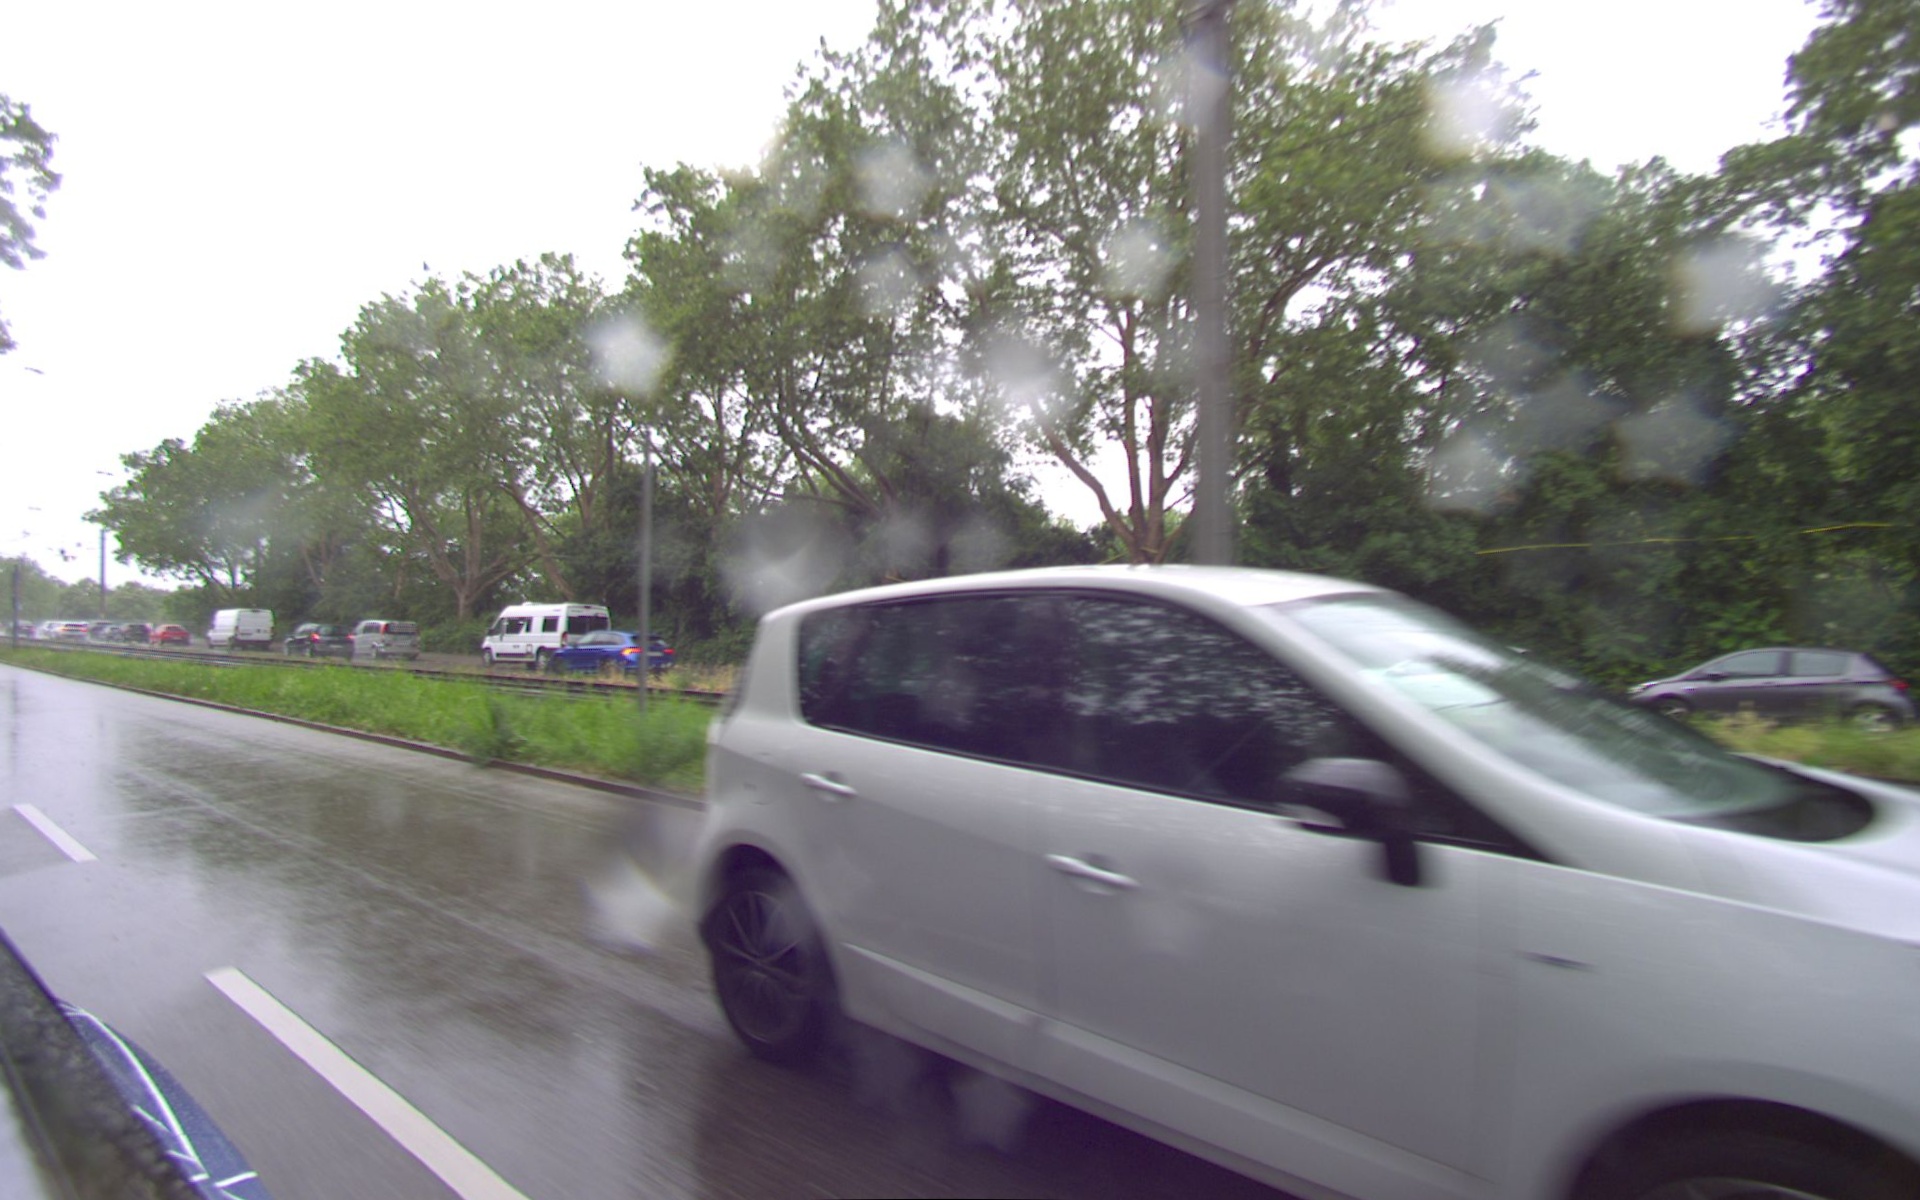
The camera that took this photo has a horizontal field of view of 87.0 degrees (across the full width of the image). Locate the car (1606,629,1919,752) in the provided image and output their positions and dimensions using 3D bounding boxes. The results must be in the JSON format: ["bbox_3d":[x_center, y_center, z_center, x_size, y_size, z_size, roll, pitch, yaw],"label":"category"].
[{"bbox_3d":[13.367,1.391,16.452,4.687,1.764,2.012,-1,-3,38],"label":"car"}]

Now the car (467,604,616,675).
[{"bbox_3d":[-16.314,1.505,39.293,6.557,2.560,2.367,-1,-3,38],"label":"car"}]

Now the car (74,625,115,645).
[{"bbox_3d":[-74.656,3.032,87.291,4.364,1.663,1.867,-1,-3,39],"label":"car"}]

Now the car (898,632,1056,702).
[{"bbox_3d":[0.406,1.691,26.317,3.808,1.661,1.744,-1,-3,38],"label":"car"}]

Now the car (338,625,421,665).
[{"bbox_3d":[-28.200,2.165,49.112,4.636,1.876,1.937,-1,-3,40],"label":"car"}]

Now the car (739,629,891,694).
[{"bbox_3d":[-4.307,1.754,29.693,4.525,1.741,1.733,-1,-3,38],"label":"car"}]

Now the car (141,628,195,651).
[{"bbox_3d":[-57.068,2.866,72.872,4.379,1.564,2.014,-1,-3,38],"label":"car"}]

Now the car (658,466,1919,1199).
[{"bbox_3d":[1.103,0.649,2.876,4.262,1.636,1.845,-1,-1,42],"label":"car"}]

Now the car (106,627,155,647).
[{"bbox_3d":[-65.613,2.919,80.011,4.379,1.564,2.014,-1,-3,38],"label":"car"}]

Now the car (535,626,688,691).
[{"bbox_3d":[-10.341,1.686,29.921,4.687,1.764,2.012,-1,-3,38],"label":"car"}]

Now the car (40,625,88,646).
[{"bbox_3d":[-70.362,2.788,79.462,4.762,1.579,1.959,-1,-3,38],"label":"car"}]

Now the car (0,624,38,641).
[{"bbox_3d":[-85.901,2.990,92.303,4.562,1.564,2.013,-2,-3,40],"label":"car"}]

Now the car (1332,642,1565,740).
[{"bbox_3d":[9.422,1.680,19.642,3.808,1.661,1.744,-1,-3,38],"label":"car"}]

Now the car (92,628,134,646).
[{"bbox_3d":[-69.703,3.048,83.280,3.961,1.389,1.867,-1,-3,39],"label":"car"}]

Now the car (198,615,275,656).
[{"bbox_3d":[-45.082,2.176,63.026,6.133,2.465,2.306,-1,-3,39],"label":"car"}]

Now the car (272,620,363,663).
[{"bbox_3d":[-28.268,1.813,44.490,4.253,1.764,2.012,-1,-3,38],"label":"car"}]
